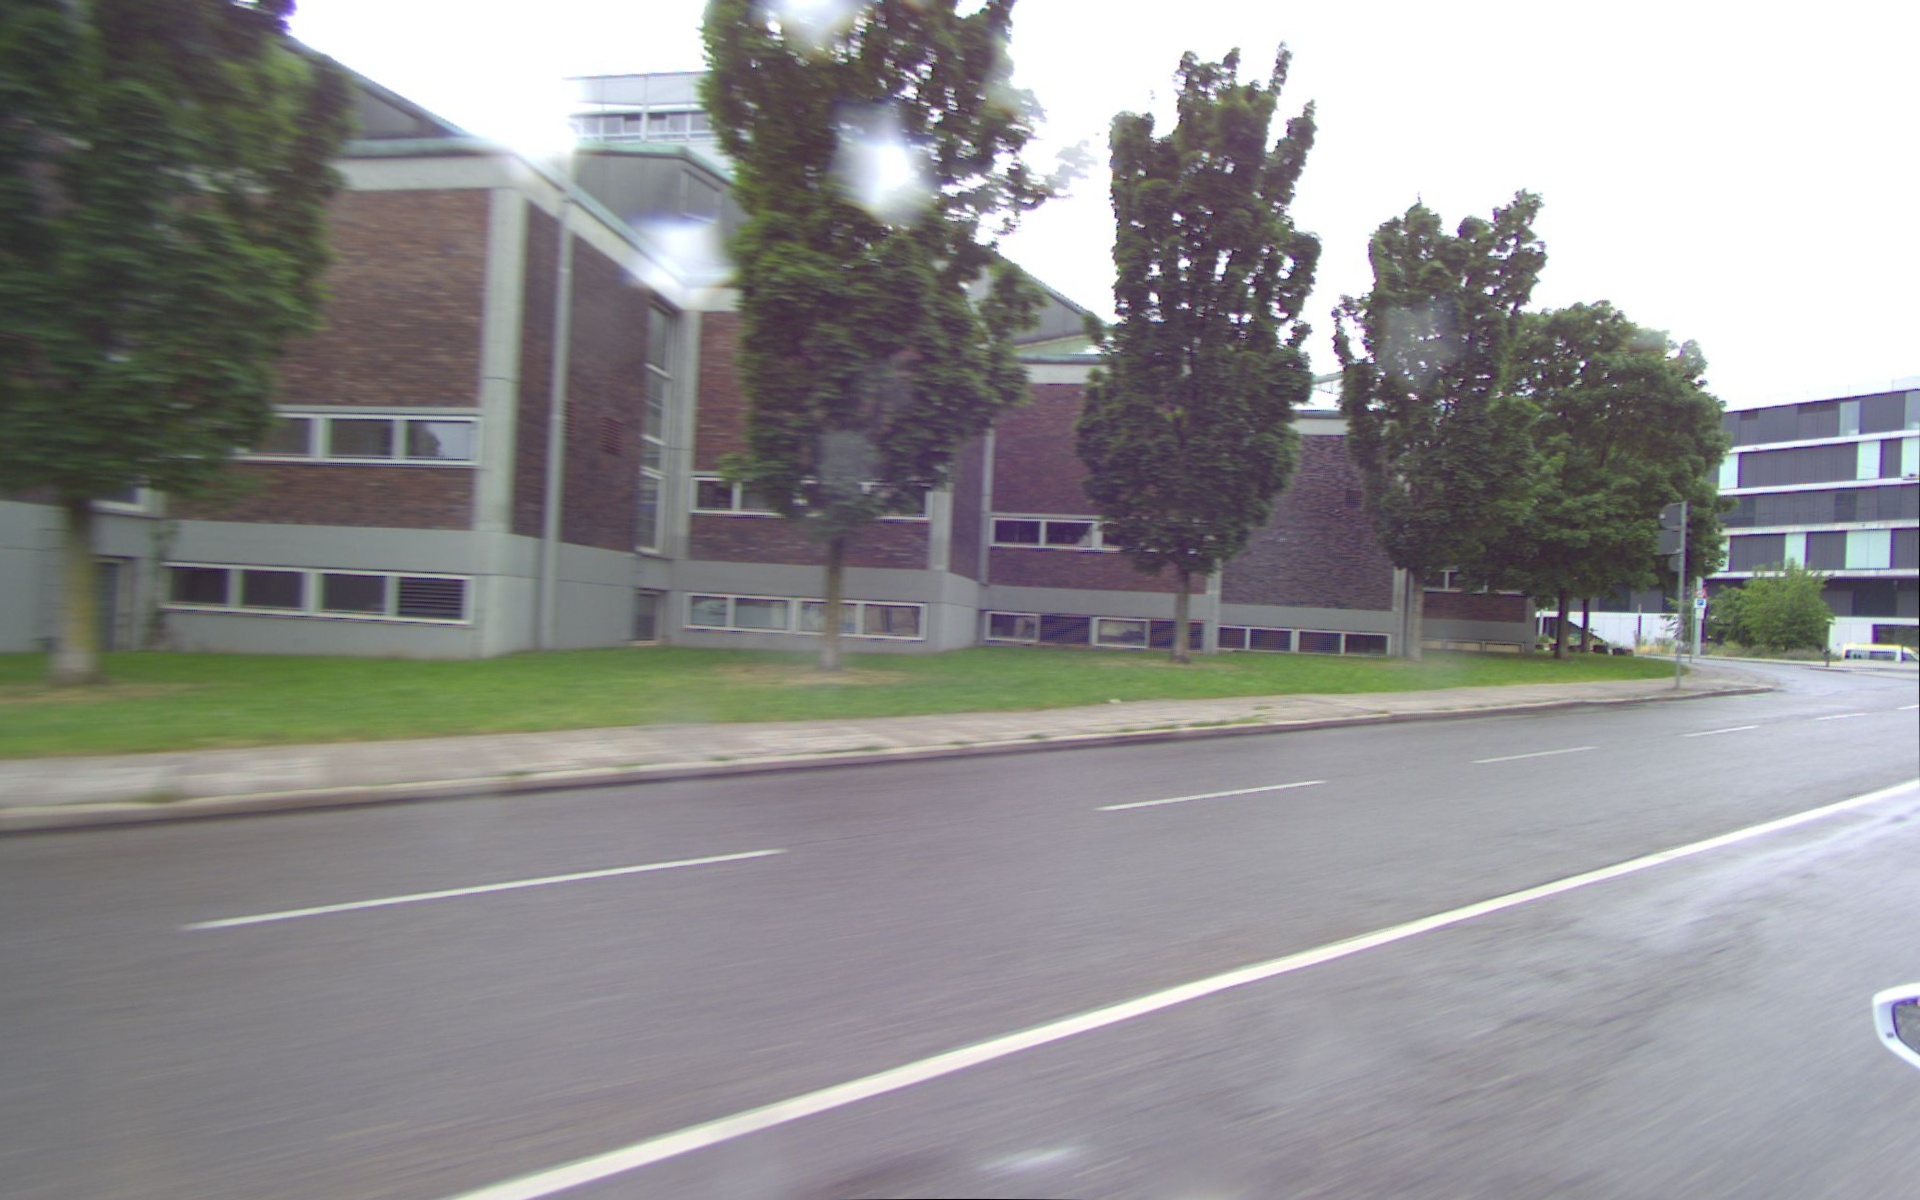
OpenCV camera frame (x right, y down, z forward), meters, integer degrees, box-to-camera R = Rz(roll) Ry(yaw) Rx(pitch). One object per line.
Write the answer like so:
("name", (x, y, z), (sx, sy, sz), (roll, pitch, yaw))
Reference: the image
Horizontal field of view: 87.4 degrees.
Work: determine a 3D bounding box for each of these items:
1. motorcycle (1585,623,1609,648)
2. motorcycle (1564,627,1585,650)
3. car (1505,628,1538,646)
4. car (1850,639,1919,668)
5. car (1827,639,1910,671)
("motorcycle", (31.732, 1.768, 50.039), (0.405, 1.201, 1.228), (2, 0, 3))
("motorcycle", (31.958, 2.007, 52.272), (0.405, 1.139, 1.171), (2, -1, 3))
("car", (50.916, 3.298, 91.183), (1.635, 1.469, 3.870), (2, 0, 14))
("car", (74.318, 4.267, 80.357), (1.582, 2.059, 4.314), (2, 0, -34))
("car", (70.795, 4.251, 78.359), (1.916, 2.203, 4.551), (2, 0, -40))
